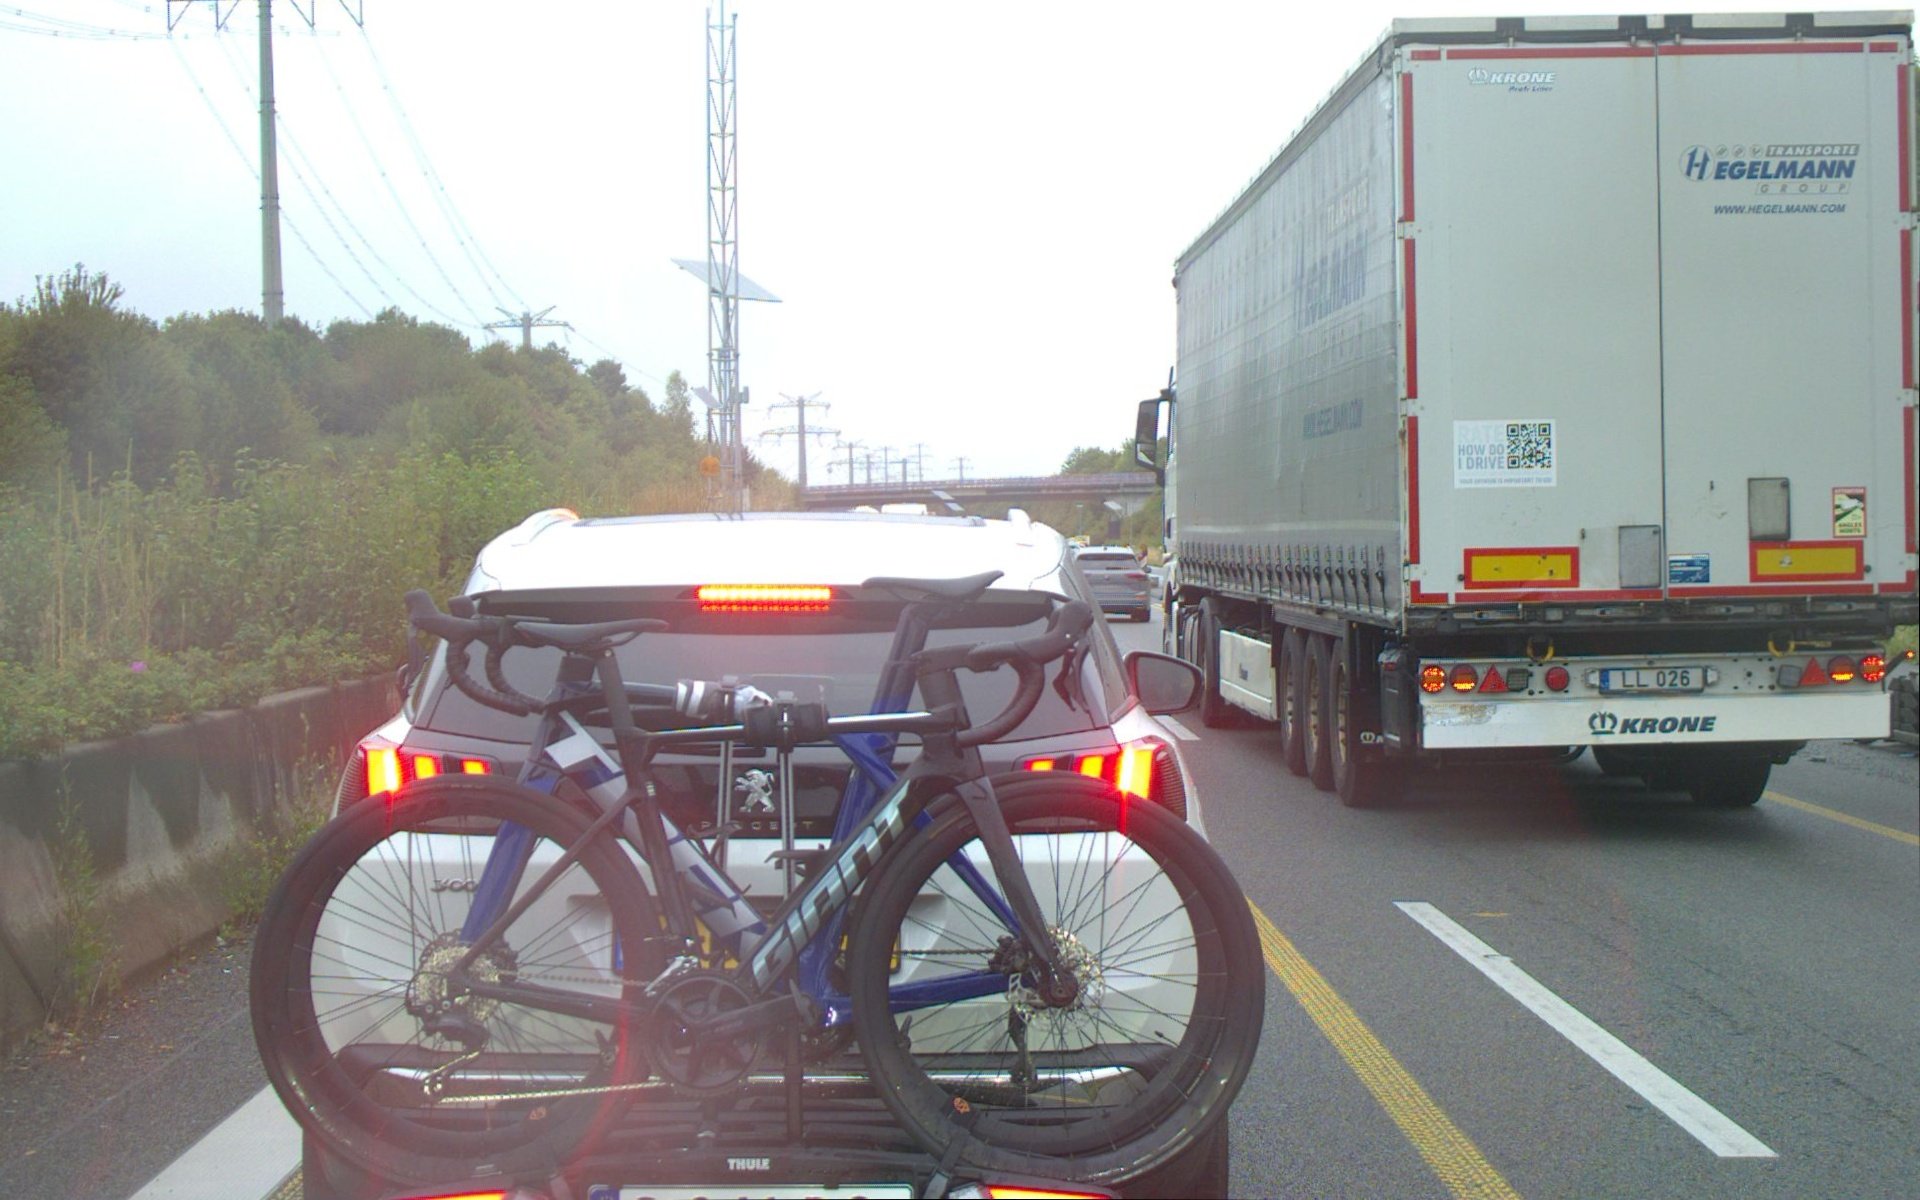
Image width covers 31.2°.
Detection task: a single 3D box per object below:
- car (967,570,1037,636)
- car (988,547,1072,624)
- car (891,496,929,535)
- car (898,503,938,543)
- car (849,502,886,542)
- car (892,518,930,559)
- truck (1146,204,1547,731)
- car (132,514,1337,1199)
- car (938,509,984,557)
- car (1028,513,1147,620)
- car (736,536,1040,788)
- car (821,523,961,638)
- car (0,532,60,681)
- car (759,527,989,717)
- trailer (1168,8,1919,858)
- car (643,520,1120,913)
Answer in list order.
[{"bbox_3d":[1.328,0.088,110.697,2.148,1.966,4.001,0,2,-1],"label":"car"},{"bbox_3d":[1.899,-0.423,94.859,2.148,1.966,4.001,0,2,-1],"label":"car"},{"bbox_3d":[-2.591,-4.402,179.234,1.931,1.966,4.001,0,2,-1],"label":"car"},{"bbox_3d":[-2.026,-3.741,166.818,1.931,1.904,4.001,0,2,-1],"label":"car"},{"bbox_3d":[-5.741,-4.881,213.976,2.257,2.416,4.001,0,2,-1],"label":"car"},{"bbox_3d":[-2.470,-3.126,174.005,1.931,1.966,4.001,0,2,-1],"label":"car"},{"bbox_3d":[3.160,-1.081,29.821,2.660,4.062,6.539,0,1,-1],"label":"truck"},{"bbox_3d":[-0.373,0.587,7.679,1.850,1.525,4.769,0,1,-1],"label":"car"},{"bbox_3d":[0.023,-2.876,146.046,1.931,1.966,4.001,0,2,-1],"label":"car"},{"bbox_3d":[2.433,-0.681,66.506,2.110,1.966,4.001,0,2,-1],"label":"car"},{"bbox_3d":[-0.461,0.342,22.906,1.850,1.525,4.000,0,1,-1],"label":"car"},{"bbox_3d":[-0.942,-0.301,47.709,1.850,1.525,4.000,0,1,-1],"label":"car"},{"bbox_3d":[-12.077,0.071,39.900,1.993,1.720,5.060,0,1,-1],"label":"car"},{"bbox_3d":[-0.715,0.139,29.628,1.850,1.525,4.000,0,1,-1],"label":"car"},{"bbox_3d":[3.246,-0.924,23.273,2.692,4.062,13.634,0,1,-1],"label":"trailer"},{"bbox_3d":[-0.327,0.416,15.350,1.850,1.525,4.000,0,1,-1],"label":"car"}]
